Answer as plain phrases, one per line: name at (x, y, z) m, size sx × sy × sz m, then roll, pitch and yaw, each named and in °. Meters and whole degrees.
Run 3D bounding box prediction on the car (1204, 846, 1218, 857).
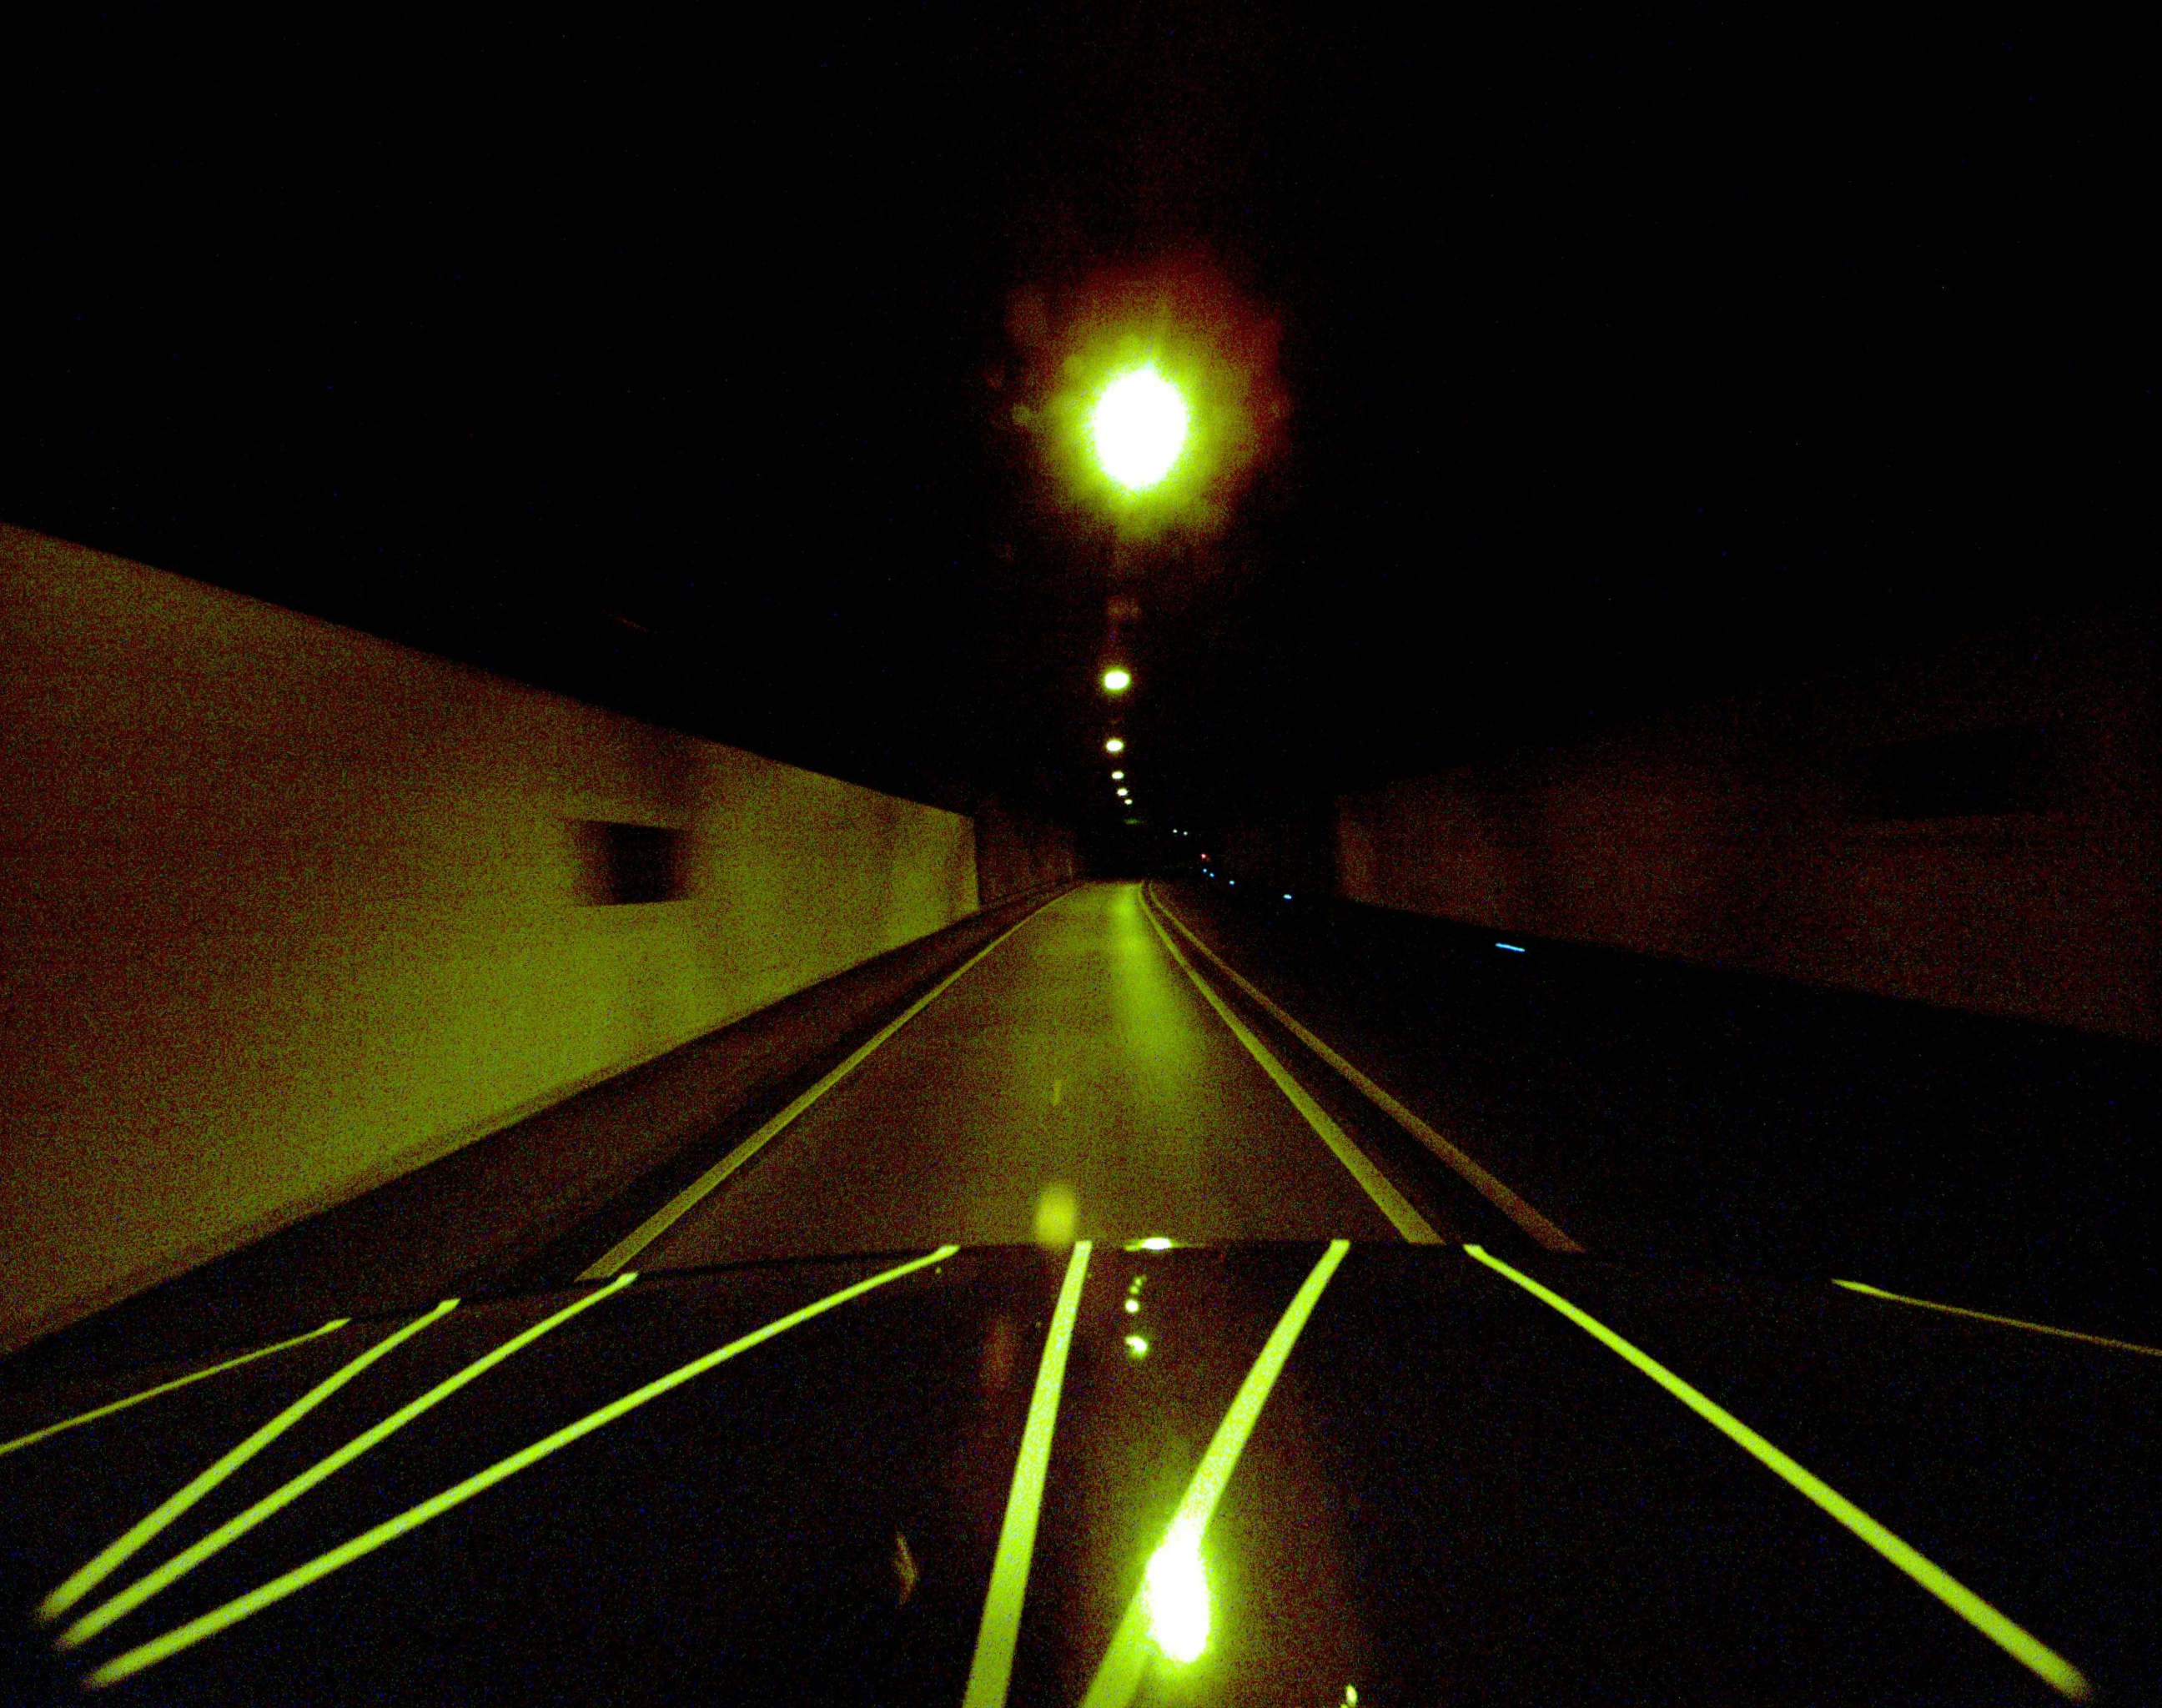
car at (19.596, -0.416, 114.490) m, size 1.719 × 1.434 × 4.397 m, roll -4°, pitch 0°, yaw 13°
